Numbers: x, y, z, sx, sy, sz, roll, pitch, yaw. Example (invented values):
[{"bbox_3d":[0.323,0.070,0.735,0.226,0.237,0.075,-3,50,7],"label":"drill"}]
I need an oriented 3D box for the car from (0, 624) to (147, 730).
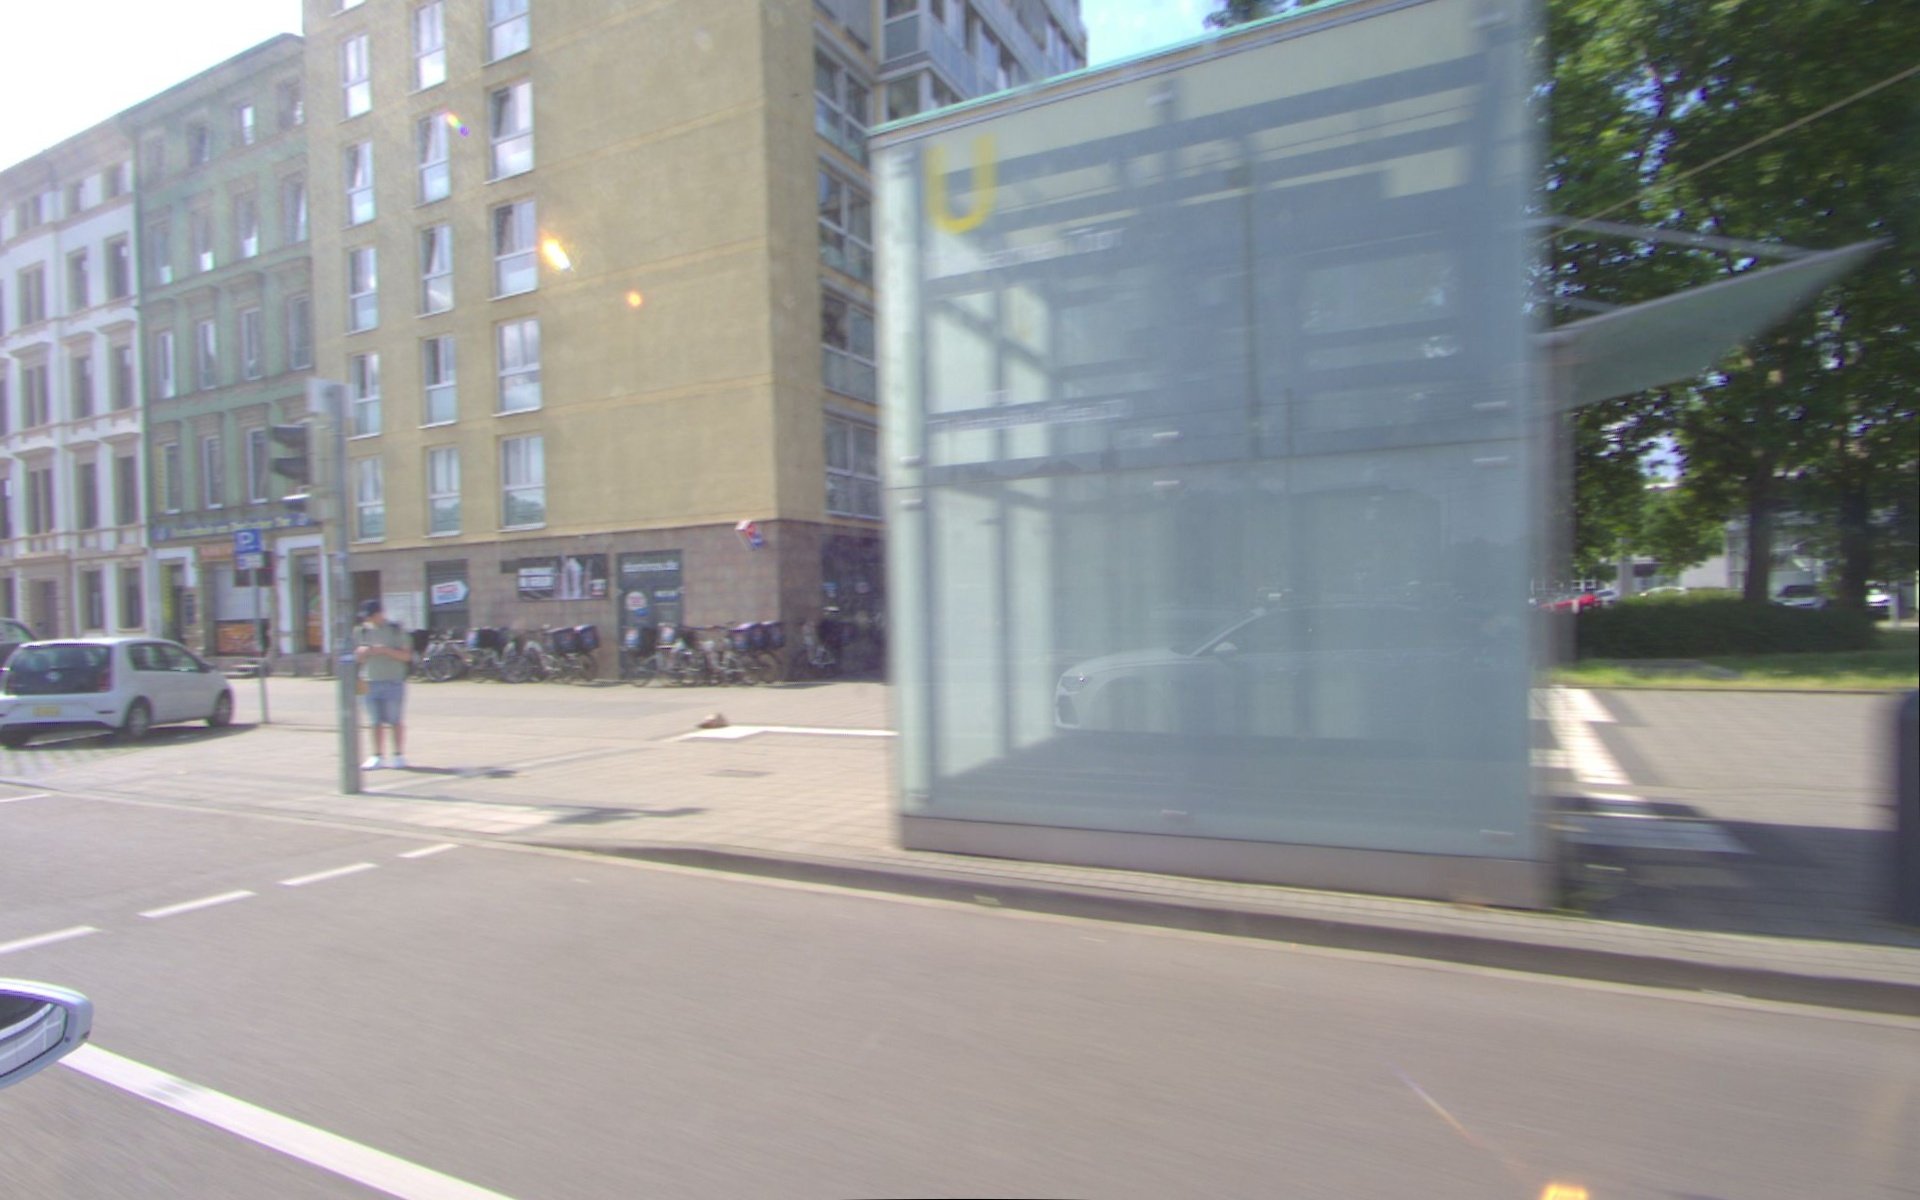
[{"bbox_3d":[-15.429,1.184,15.967,1.857,1.488,5.057,0,0,-14],"label":"car"}]

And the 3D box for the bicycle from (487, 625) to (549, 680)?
[{"bbox_3d":[-10.272,1.207,23.269,1.621,1.218,0.485,1,1,32],"label":"bicycle"}]

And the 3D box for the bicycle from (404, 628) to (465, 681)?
[{"bbox_3d":[-12.844,1.312,24.472,1.619,1.218,0.486,0,1,27],"label":"bicycle"}]

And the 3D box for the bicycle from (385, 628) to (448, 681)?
[{"bbox_3d":[-13.027,1.289,23.982,1.619,1.218,0.486,0,1,27],"label":"bicycle"}]

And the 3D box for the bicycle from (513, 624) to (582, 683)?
[{"bbox_3d":[-9.054,1.160,21.957,1.621,1.218,0.546,1,1,32],"label":"bicycle"}]

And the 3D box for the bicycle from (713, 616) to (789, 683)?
[{"bbox_3d":[-4.225,0.971,20.193,1.621,1.289,0.485,1,1,32],"label":"bicycle"}]

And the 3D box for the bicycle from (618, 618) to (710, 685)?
[{"bbox_3d":[-6.049,1.036,20.437,1.856,1.289,0.487,0,1,19],"label":"bicycle"}]

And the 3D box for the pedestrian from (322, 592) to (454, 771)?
[{"bbox_3d":[-6.059,0.848,10.659,0.771,1.782,0.996,-2,-2,3],"label":"pedestrian"}]

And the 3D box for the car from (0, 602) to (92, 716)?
[{"bbox_3d":[-18.762,1.069,18.473,2.042,2.111,4.894,2,-1,-13],"label":"car"}]

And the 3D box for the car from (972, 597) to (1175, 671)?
[{"bbox_3d":[2.650,0.845,23.531,4.322,1.605,1.994,-2,-3,26],"label":"car"}]

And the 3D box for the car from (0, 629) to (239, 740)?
[{"bbox_3d":[-12.598,1.166,15.004,1.688,1.459,3.509,1,-2,-13],"label":"car"}]

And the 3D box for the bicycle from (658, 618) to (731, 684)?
[{"bbox_3d":[-5.516,1.036,20.777,1.621,1.289,0.485,1,1,32],"label":"bicycle"}]

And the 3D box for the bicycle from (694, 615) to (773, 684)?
[{"bbox_3d":[-4.468,0.951,19.713,1.621,1.289,0.528,1,1,32],"label":"bicycle"}]

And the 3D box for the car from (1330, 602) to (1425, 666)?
[{"bbox_3d":[10.597,0.786,25.270,1.769,1.439,3.982,1,1,29],"label":"car"}]

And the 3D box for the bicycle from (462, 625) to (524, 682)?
[{"bbox_3d":[-10.689,1.201,22.891,1.621,1.218,0.485,1,1,32],"label":"bicycle"}]

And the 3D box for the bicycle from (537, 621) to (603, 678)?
[{"bbox_3d":[-8.739,1.092,22.418,1.621,1.218,0.485,1,1,32],"label":"bicycle"}]

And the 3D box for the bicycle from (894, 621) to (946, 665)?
[{"bbox_3d":[-0.972,1.076,24.846,0.670,1.032,1.778,-2,-3,19],"label":"bicycle"}]
